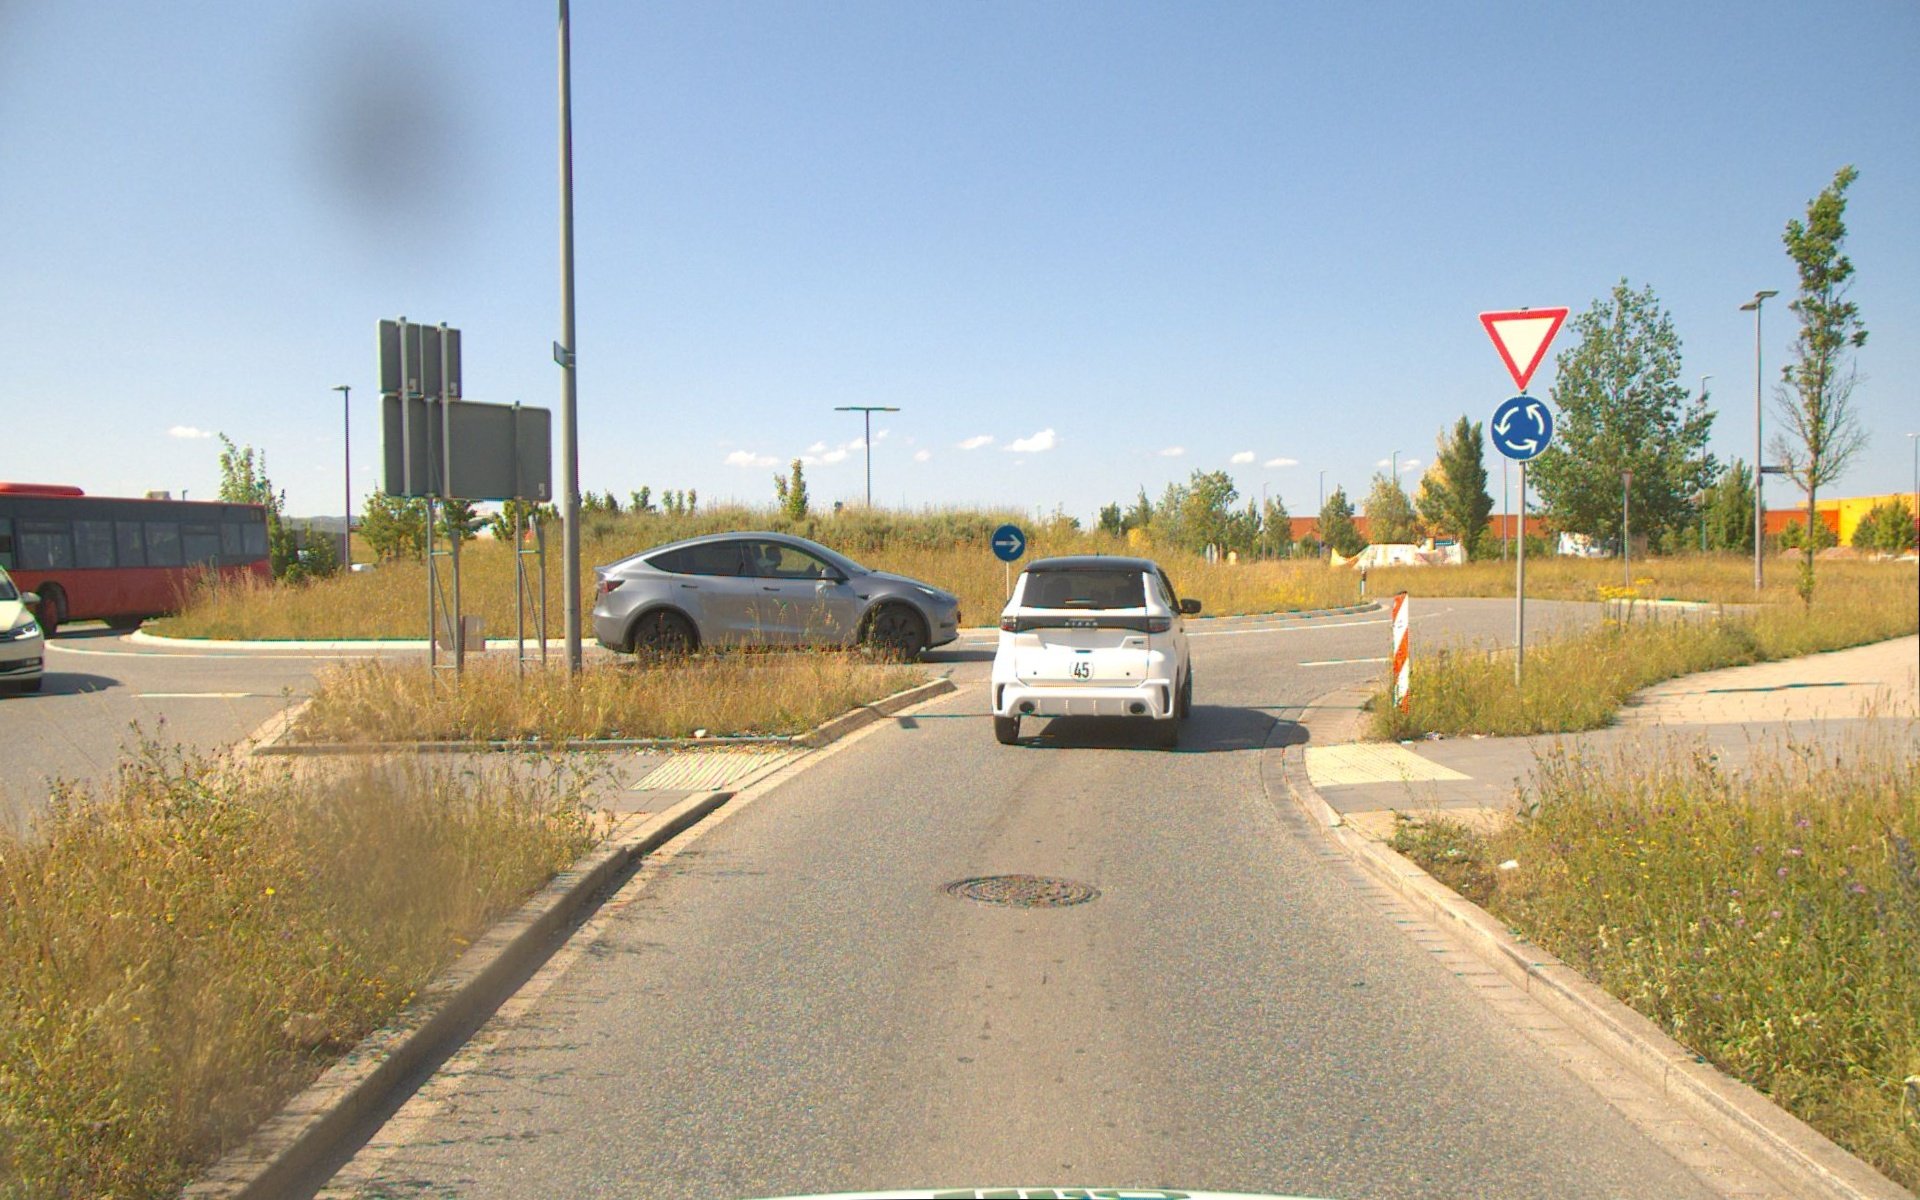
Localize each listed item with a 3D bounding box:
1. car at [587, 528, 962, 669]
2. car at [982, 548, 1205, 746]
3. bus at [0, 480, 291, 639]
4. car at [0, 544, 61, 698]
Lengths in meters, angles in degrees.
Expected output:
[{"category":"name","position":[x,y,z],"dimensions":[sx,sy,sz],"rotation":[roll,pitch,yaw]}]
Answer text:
[{"category":"car","position":[-2.273,-0.061,21.056],"dimensions":[4.517,1.654,1.963],"rotation":[-1,2,-2]},{"category":"car","position":[1.294,0.303,14.561],"dimensions":[1.582,1.459,3.797],"rotation":[0,2,10]},{"category":"bus","position":[-19.710,-0.955,37.644],"dimensions":[2.728,3.132,12.214],"rotation":[-2,2,6]},{"category":"car","position":[-12.357,0.264,19.964],"dimensions":[1.829,1.694,4.526],"rotation":[-4,2,-38]}]
